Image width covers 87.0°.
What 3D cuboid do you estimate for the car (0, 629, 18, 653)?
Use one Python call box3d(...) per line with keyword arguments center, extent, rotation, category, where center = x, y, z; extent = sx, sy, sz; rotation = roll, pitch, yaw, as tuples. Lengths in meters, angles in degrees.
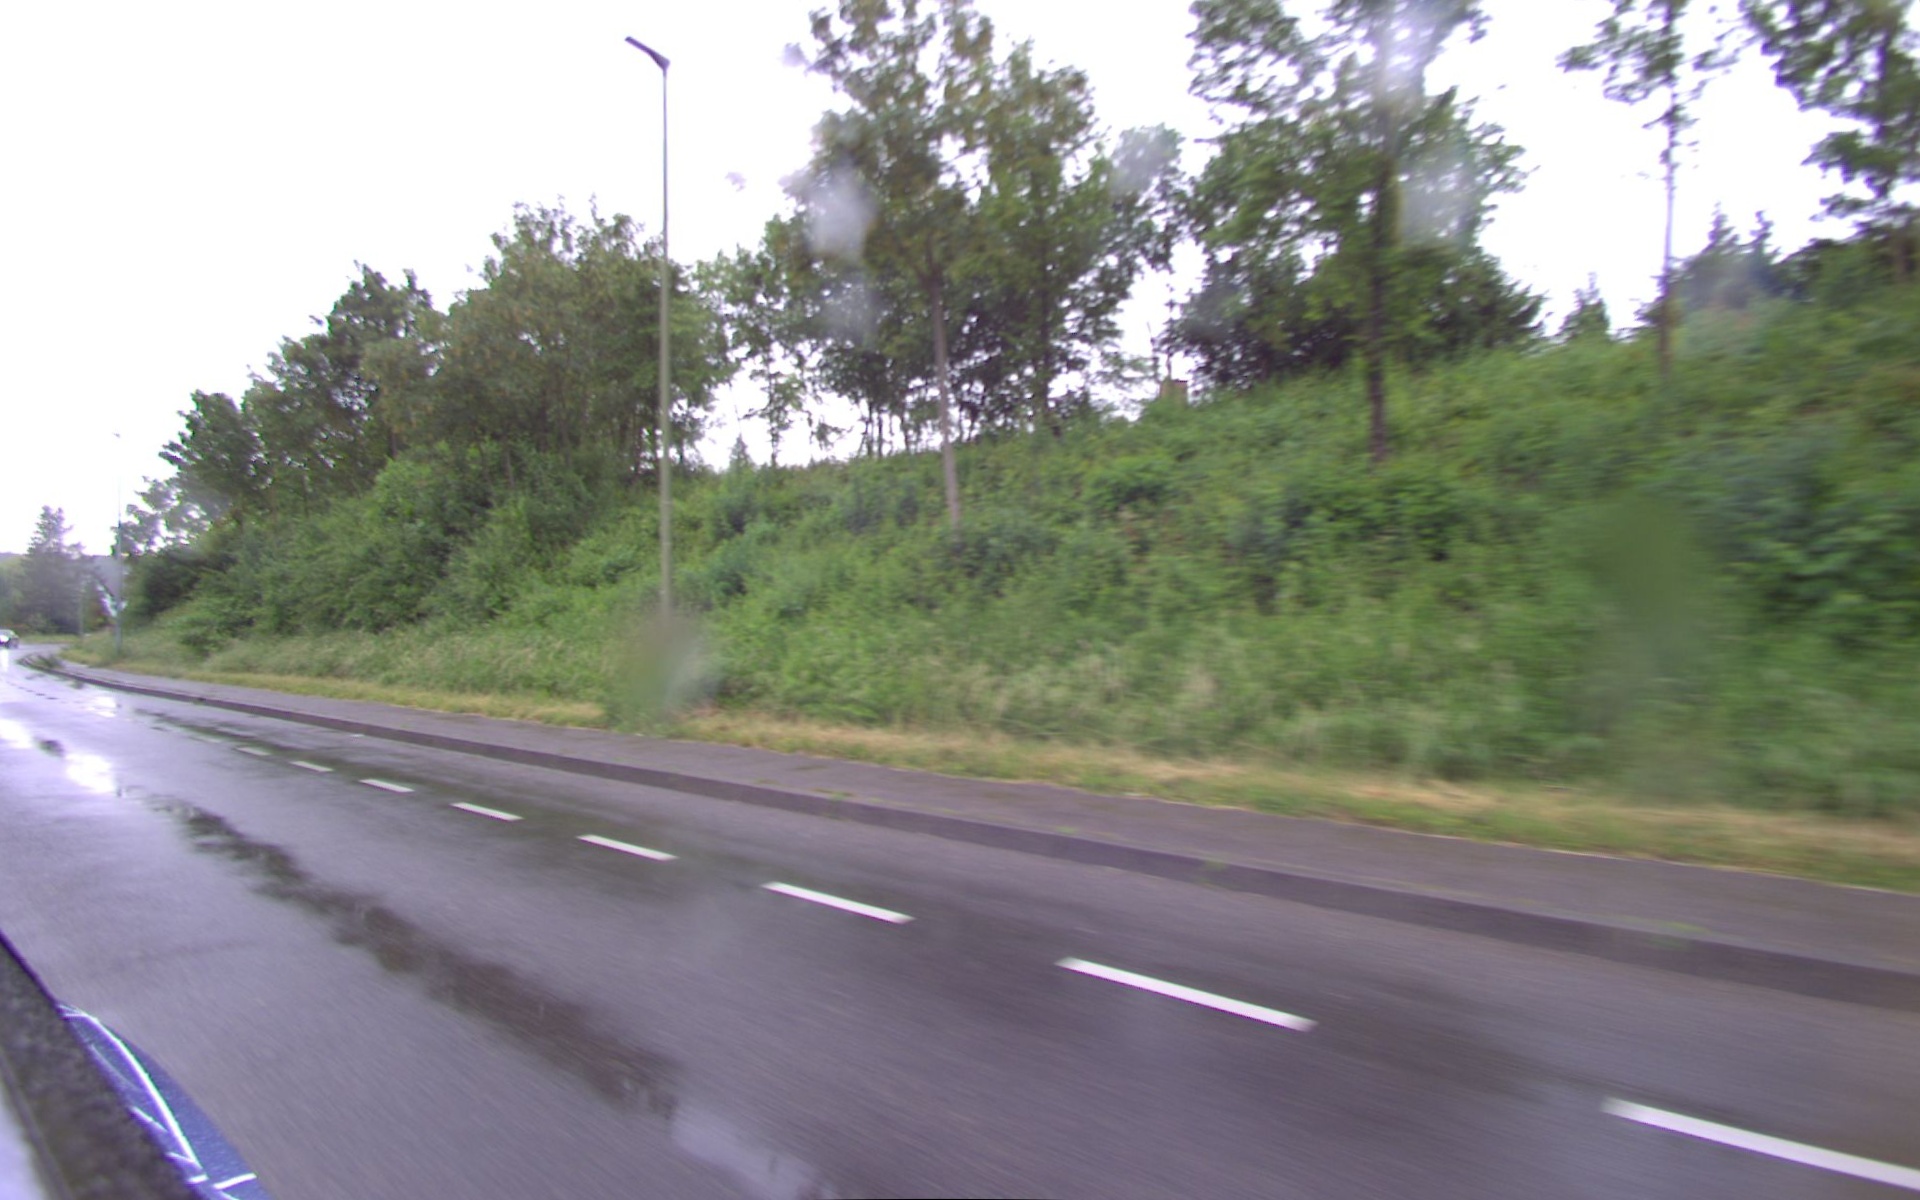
box3d(center=(-79.188, 3.378, 83.092), extent=(1.966, 1.856, 4.011), rotation=(-1, -1, -32), category="car")
